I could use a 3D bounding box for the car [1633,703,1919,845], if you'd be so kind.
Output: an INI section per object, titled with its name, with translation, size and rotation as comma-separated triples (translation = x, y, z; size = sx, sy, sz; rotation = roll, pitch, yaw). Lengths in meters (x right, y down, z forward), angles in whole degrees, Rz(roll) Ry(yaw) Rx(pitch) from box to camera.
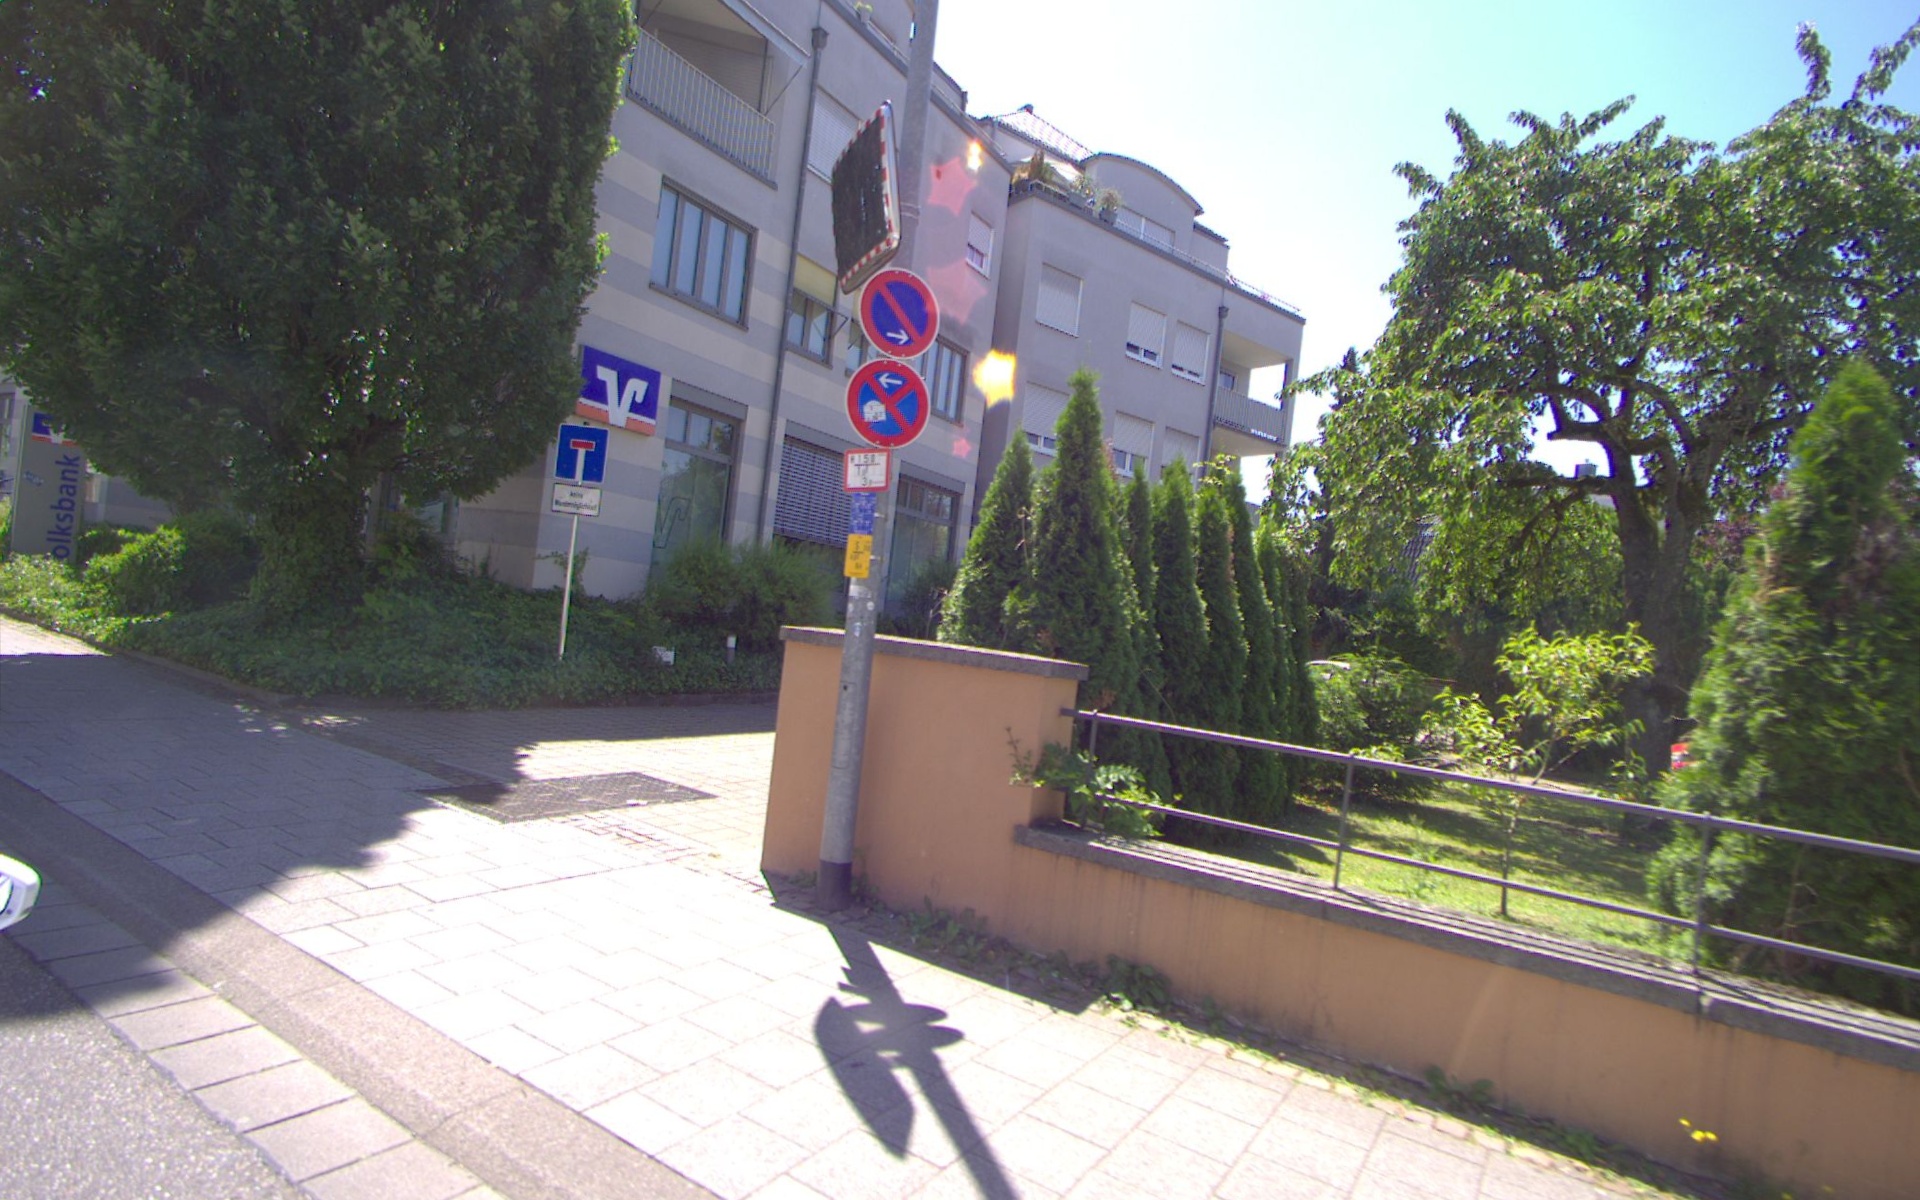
[car]
translation = 12.551, 2.587, 15.384
size = 3.442, 1.476, 1.612
rotation = 7, 0, 27
